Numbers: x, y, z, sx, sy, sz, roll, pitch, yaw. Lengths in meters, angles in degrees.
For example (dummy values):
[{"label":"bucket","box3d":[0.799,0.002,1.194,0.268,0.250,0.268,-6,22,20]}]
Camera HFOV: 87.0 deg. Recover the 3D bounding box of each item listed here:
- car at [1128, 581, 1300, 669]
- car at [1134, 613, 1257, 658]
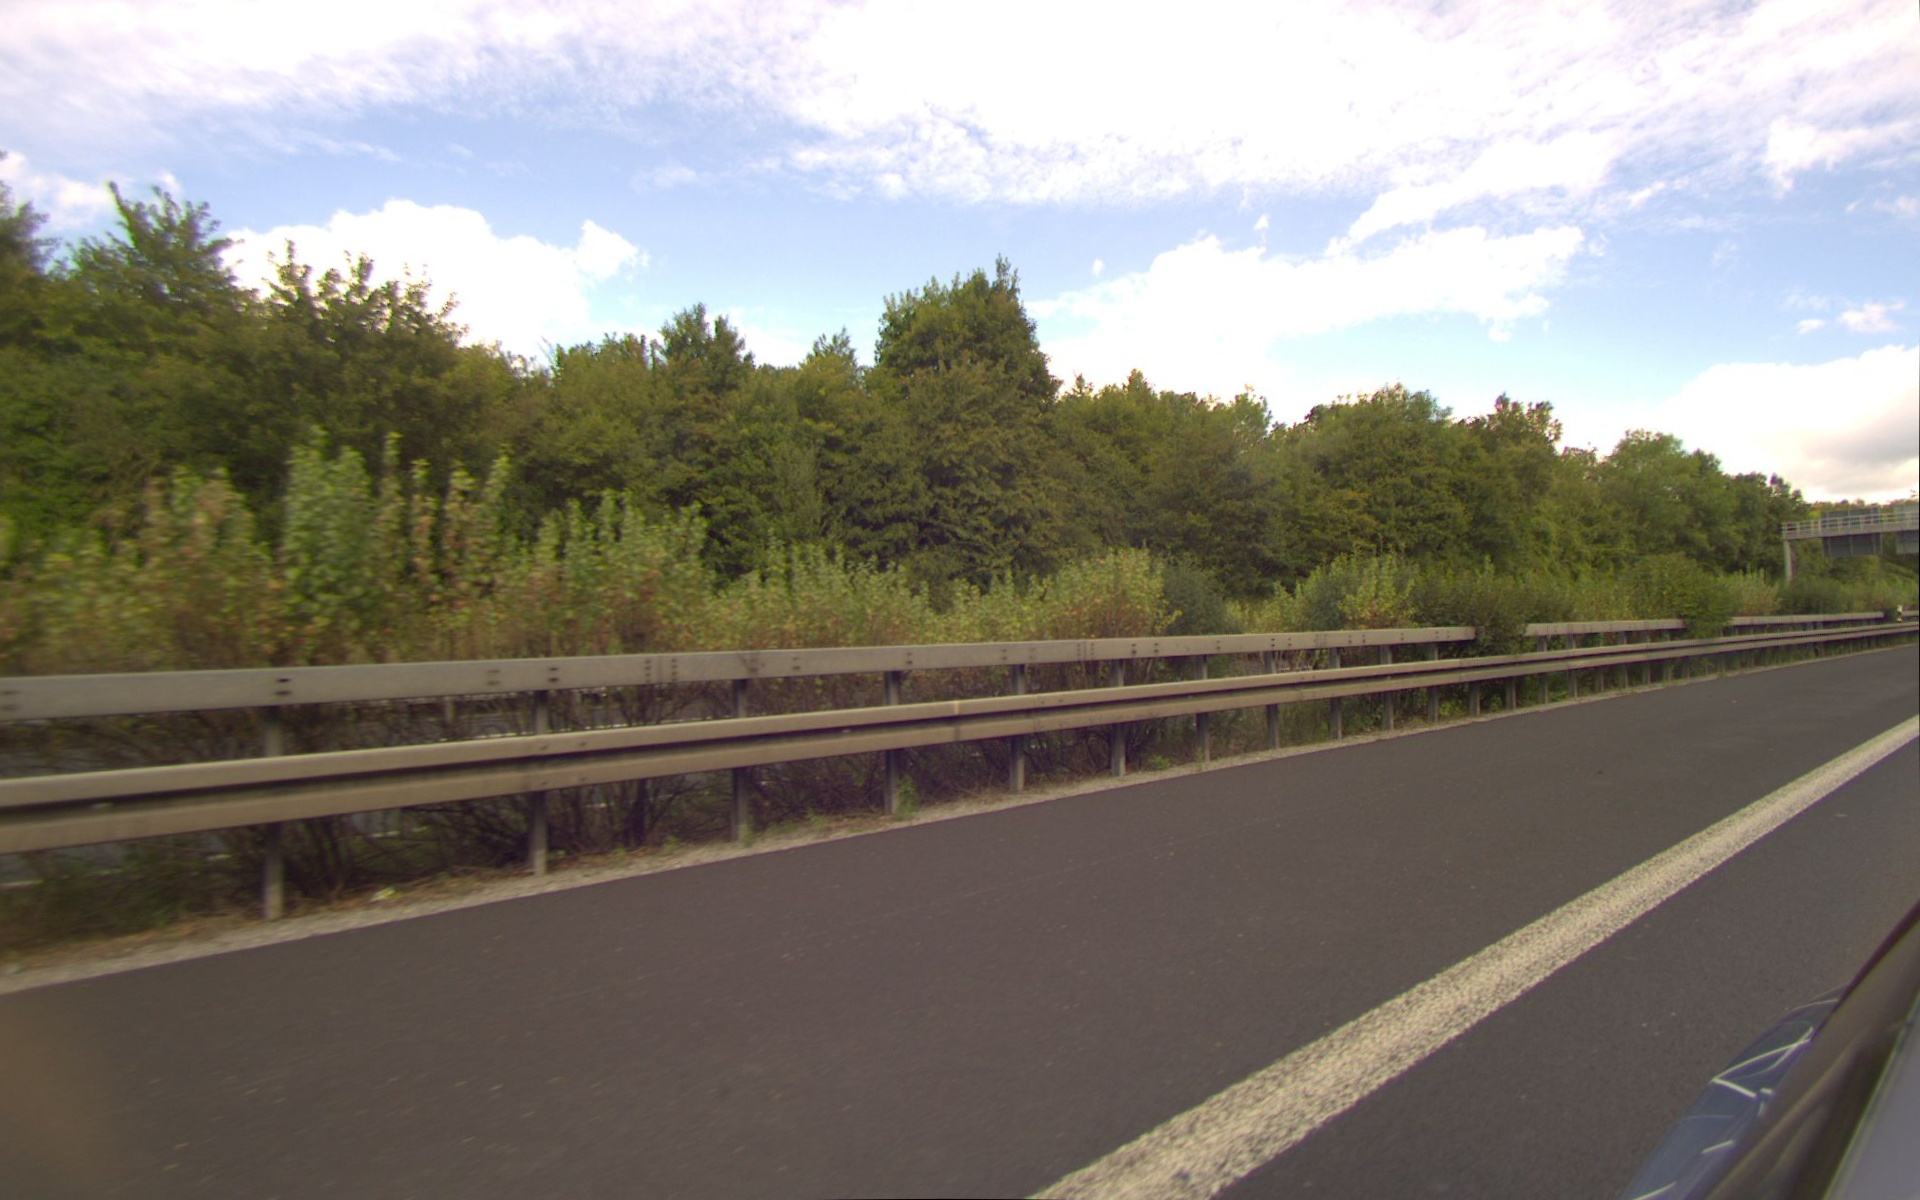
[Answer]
[{"label":"car","box3d":[6.591,0.571,25.995,4.827,2.039,1.995,0,0,-43]},{"label":"car","box3d":[8.998,1.292,38.553,4.777,1.528,1.773,-1,0,-33]}]
